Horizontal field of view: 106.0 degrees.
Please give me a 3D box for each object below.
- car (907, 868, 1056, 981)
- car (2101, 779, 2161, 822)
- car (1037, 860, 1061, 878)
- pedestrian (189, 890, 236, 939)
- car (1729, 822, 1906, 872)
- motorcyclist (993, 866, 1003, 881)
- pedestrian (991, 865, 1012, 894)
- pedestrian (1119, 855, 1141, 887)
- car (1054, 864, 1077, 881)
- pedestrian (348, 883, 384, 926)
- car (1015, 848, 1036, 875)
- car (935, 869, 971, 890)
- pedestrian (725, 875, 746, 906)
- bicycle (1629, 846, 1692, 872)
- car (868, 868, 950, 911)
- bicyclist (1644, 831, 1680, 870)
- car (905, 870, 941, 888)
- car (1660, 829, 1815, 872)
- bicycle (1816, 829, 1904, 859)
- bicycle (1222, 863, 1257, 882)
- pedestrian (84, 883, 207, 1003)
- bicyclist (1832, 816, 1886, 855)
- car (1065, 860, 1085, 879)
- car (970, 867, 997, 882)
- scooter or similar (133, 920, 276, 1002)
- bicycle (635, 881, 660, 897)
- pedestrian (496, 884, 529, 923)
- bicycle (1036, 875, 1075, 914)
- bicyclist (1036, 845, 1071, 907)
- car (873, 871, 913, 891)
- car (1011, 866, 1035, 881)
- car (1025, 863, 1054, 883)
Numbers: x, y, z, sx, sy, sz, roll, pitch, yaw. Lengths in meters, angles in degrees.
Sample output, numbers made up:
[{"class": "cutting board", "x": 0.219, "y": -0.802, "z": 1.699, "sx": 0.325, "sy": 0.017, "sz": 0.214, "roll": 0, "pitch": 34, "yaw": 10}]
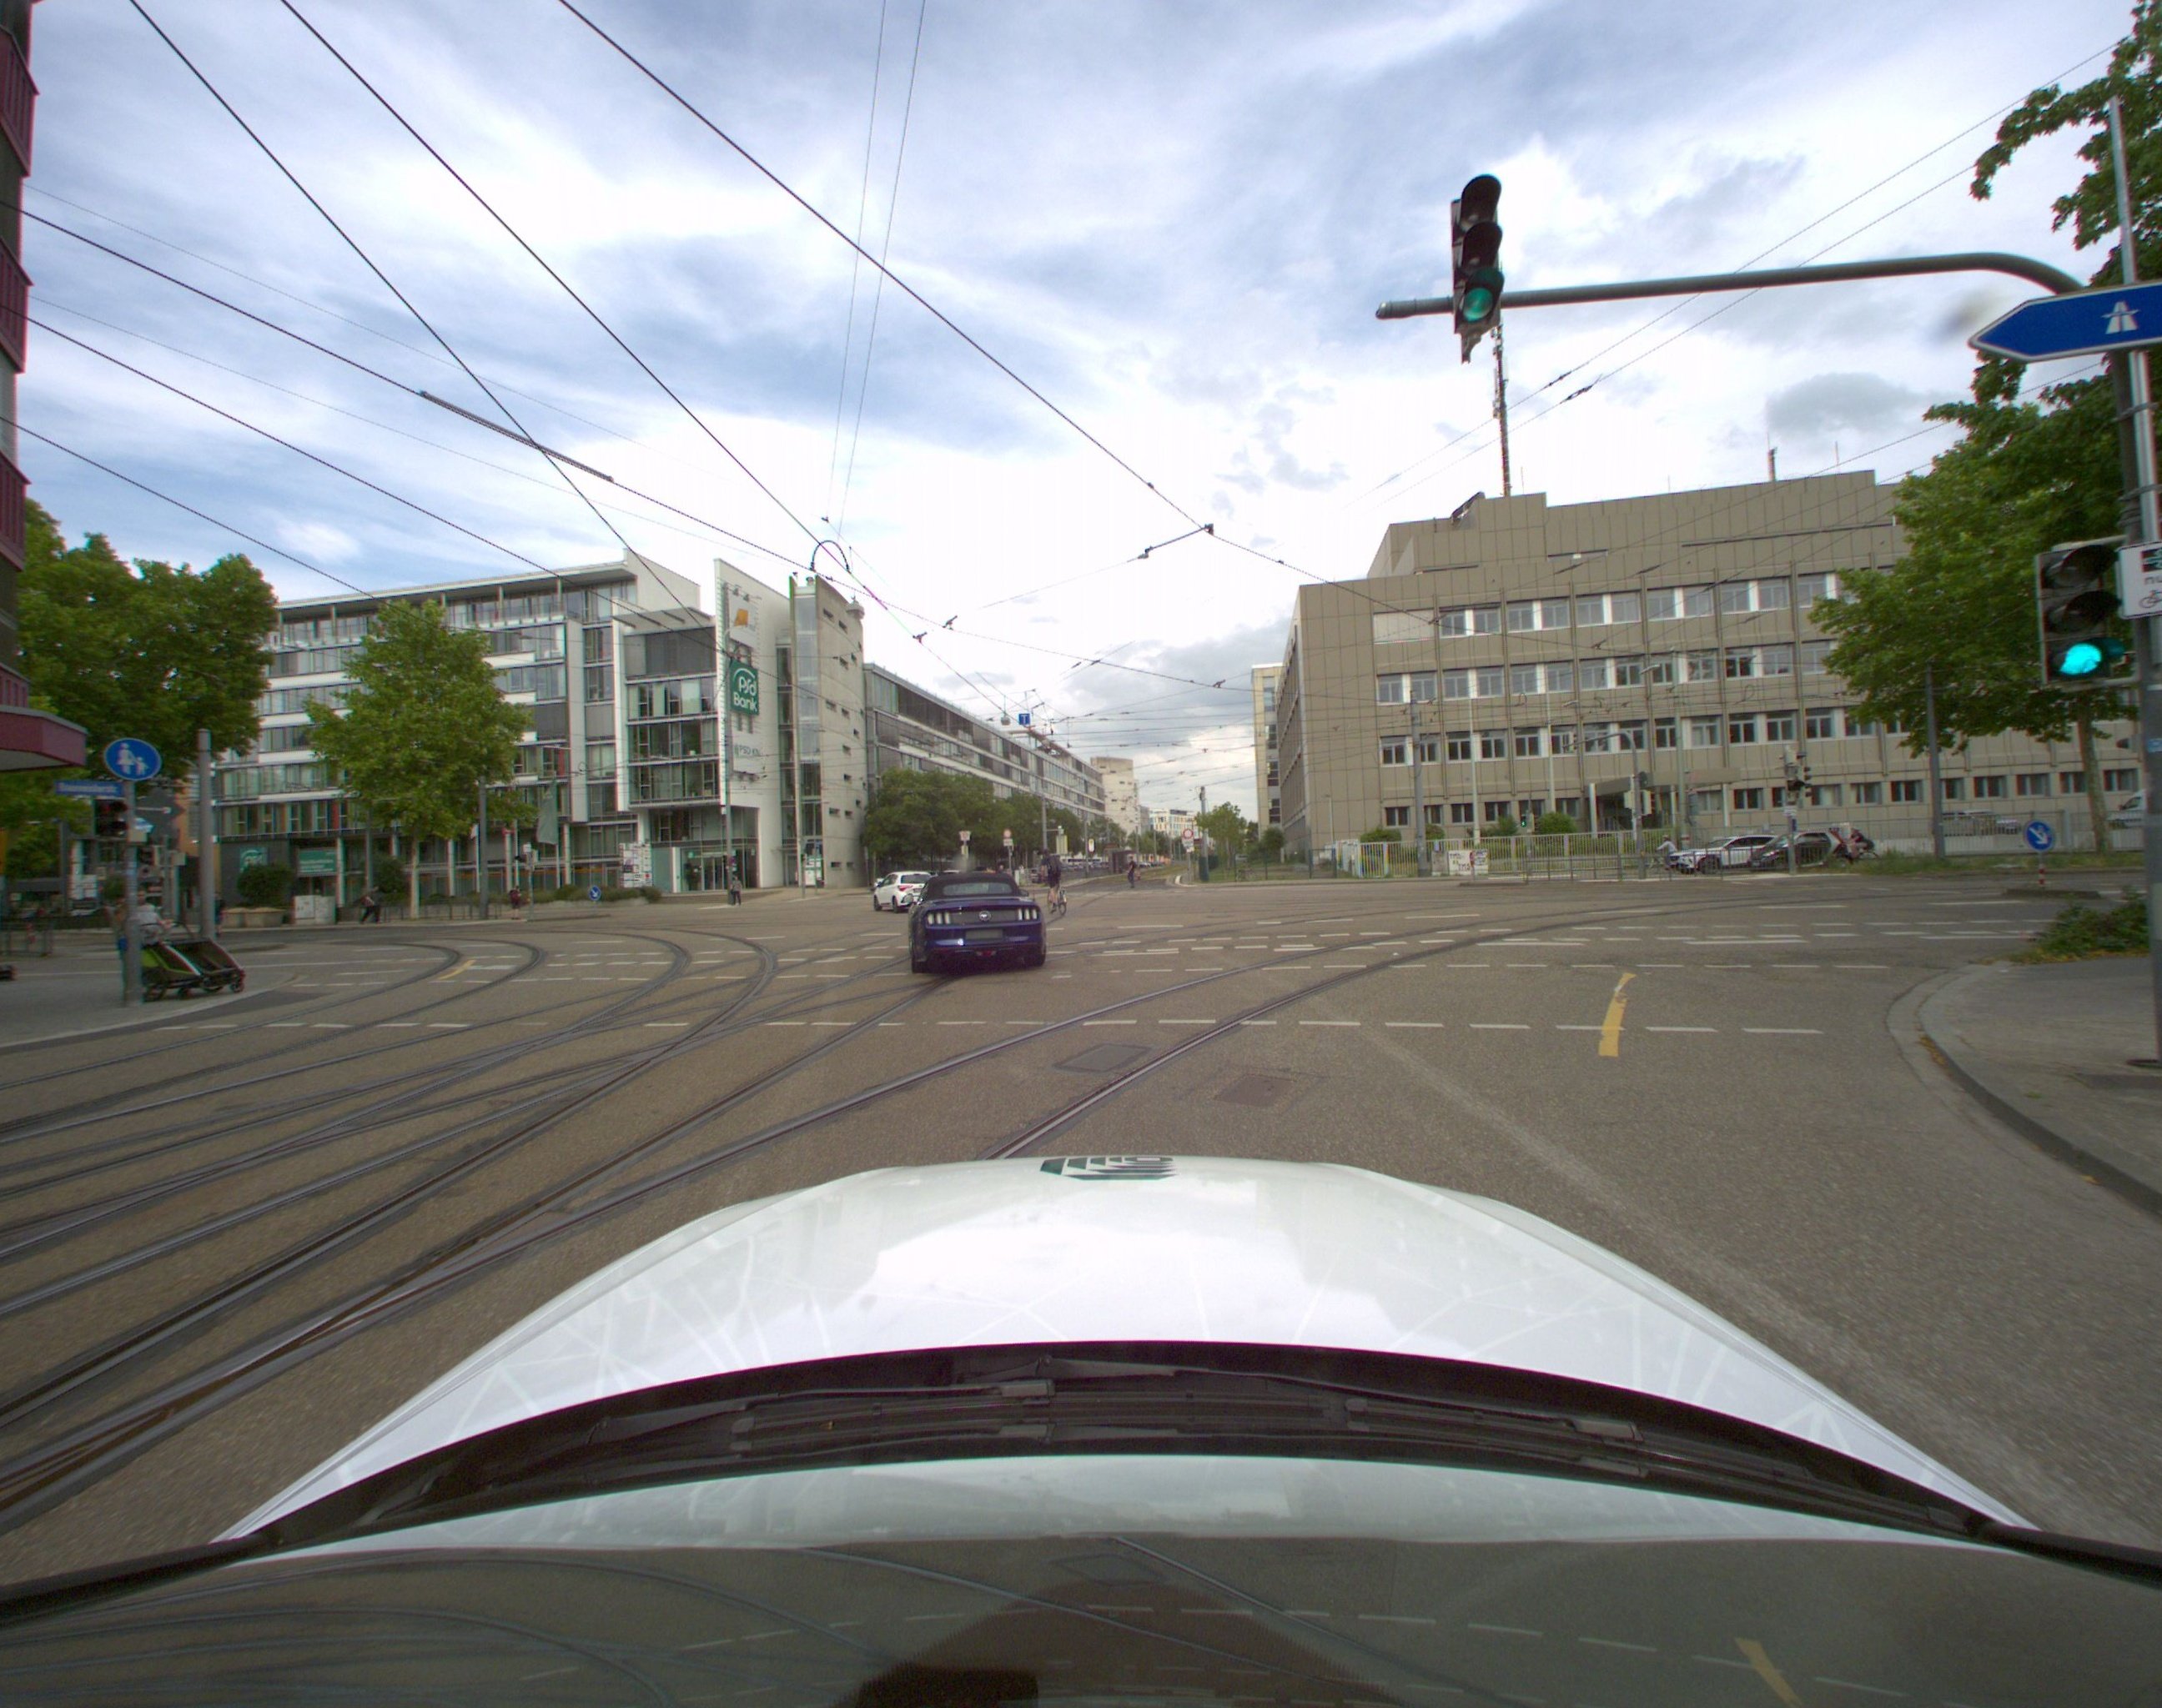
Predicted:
[{"class": "car", "x": -1.727, "y": 0.940, "z": 12.738, "sx": 1.878, "sy": 1.404, "sz": 4.263, "roll": -1, "pitch": -1, "yaw": -13}, {"class": "car", "x": 65.414, "y": -3.267, "z": 48.430, "sx": 2.546, "sy": 2.399, "sz": 5.913, "roll": -2, "pitch": -1, "yaw": 8}, {"class": "car", "x": -3.119, "y": 1.433, "z": 79.863, "sx": 1.696, "sy": 1.606, "sz": 4.086, "roll": -3, "pitch": -1, "yaw": 6}, {"class": "pedestrian", "x": -35.370, "y": 2.450, "z": 33.179, "sx": 0.797, "sy": 1.899, "sz": 1.007, "roll": -3, "pitch": -1, "yaw": 13}, {"class": "car", "x": 26.657, "y": -0.216, "z": 29.635, "sx": 4.374, "sy": 1.566, "sz": 1.844, "roll": -3, "pitch": -1, "yaw": 14}, {"class": "motorcyclist", "x": -9.270, "y": 2.182, "z": 90.659, "sx": 0.814, "sy": 1.617, "sz": 0.885, "roll": -2, "pitch": -1, "yaw": 10}, {"class": "pedestrian", "x": -5.235, "y": 1.680, "z": 53.801, "sx": 0.981, "sy": 1.855, "sz": 0.906, "roll": -3, "pitch": -1, "yaw": 18}, {"class": "pedestrian", "x": 3.012, "y": 1.016, "z": 49.661, "sx": 1.078, "sy": 1.898, "sz": 0.905, "roll": -3, "pitch": -1, "yaw": 15}, {"class": "car", "x": -1.679, "y": 1.973, "z": 87.500, "sx": 1.858, "sy": 1.606, "sz": 4.220, "roll": -3, "pitch": -1, "yaw": 6}, {"class": "pedestrian", "x": -32.590, "y": 2.302, "z": 37.132, "sx": 0.838, "sy": 1.855, "sz": 0.841, "roll": -3, "pitch": -1, "yaw": 4}, {"class": "car", "x": -7.679, "y": 1.038, "z": 112.885, "sx": 1.975, "sy": 3.637, "sz": 4.522, "roll": -1, "pitch": -1, "yaw": 8}, {"class": "car", "x": -10.700, "y": 2.117, "z": 68.246, "sx": 1.704, "sy": 1.660, "sz": 4.144, "roll": -1, "pitch": 0, "yaw": 10}, {"class": "pedestrian", "x": -21.466, "y": 2.235, "z": 50.564, "sx": 0.827, "sy": 1.865, "sz": 0.769, "roll": -3, "pitch": -1, "yaw": 18}, {"class": "bicycle", "x": 25.908, "y": 0.229, "z": 36.436, "sx": 2.157, "sy": 1.086, "sz": 0.808, "roll": -2, "pitch": -1, "yaw": 44}, {"class": "car", "x": -6.634, "y": 1.342, "z": 31.058, "sx": 1.846, "sy": 1.439, "sz": 4.147, "roll": -2, "pitch": -1, "yaw": -29}, {"class": "bicyclist", "x": 25.949, "y": -0.167, "z": 36.369, "sx": 1.167, "sy": 1.701, "sz": 0.808, "roll": -2, "pitch": -1, "yaw": 44}, {"class": "car", "x": -14.737, "y": 2.300, "z": 76.123, "sx": 1.818, "sy": 1.557, "sz": 4.228, "roll": -1, "pitch": 0, "yaw": 10}, {"class": "car", "x": 26.148, "y": -0.120, "z": 32.602, "sx": 4.376, "sy": 1.504, "sz": 2.007, "roll": -3, "pitch": -1, "yaw": 12}, {"class": "bicycle", "x": 32.099, "y": -0.411, "z": 33.603, "sx": 2.535, "sy": 1.086, "sz": 0.806, "roll": -3, "pitch": -1, "yaw": 14}, {"class": "bicycle", "x": 9.333, "y": 1.118, "z": 48.124, "sx": 0.637, "sy": 0.981, "sz": 2.134, "roll": -2, "pitch": -4, "yaw": -35}, {"class": "pedestrian", "x": -14.473, "y": 1.348, "z": 12.622, "sx": 0.943, "sy": 1.743, "sz": 0.813, "roll": -2, "pitch": -1, "yaw": 2}, {"class": "bicyclist", "x": 32.079, "y": -0.750, "z": 33.605, "sx": 1.315, "sy": 1.550, "sz": 0.806, "roll": -3, "pitch": -1, "yaw": 14}, {"class": "car", "x": -0.674, "y": 1.764, "z": 92.399, "sx": 1.776, "sy": 1.987, "sz": 4.128, "roll": -3, "pitch": -1, "yaw": 6}, {"class": "car", "x": -11.202, "y": 2.352, "z": 94.074, "sx": 1.975, "sy": 1.557, "sz": 4.522, "roll": -1, "pitch": 0, "yaw": 8}, {"class": "scooter or similar", "x": -13.520, "y": 1.630, "z": 12.598, "sx": 1.190, "sy": 1.128, "sz": 0.947, "roll": -2, "pitch": -1, "yaw": 3}, {"class": "bicycle", "x": -33.686, "y": 2.705, "z": 63.371, "sx": 0.581, "sy": 1.177, "sz": 2.119, "roll": -1, "pitch": -1, "yaw": 8}, {"class": "pedestrian", "x": -25.826, "y": 2.250, "z": 37.019, "sx": 0.927, "sy": 1.671, "sz": 0.769, "roll": -3, "pitch": -1, "yaw": 18}, {"class": "bicycle", "x": -0.792, "y": 1.178, "z": 24.343, "sx": 0.801, "sy": 1.086, "sz": 2.123, "roll": -2, "pitch": -1, "yaw": -11}, {"class": "bicyclist", "x": -0.840, "y": 0.664, "z": 24.447, "sx": 0.797, "sy": 1.785, "sz": 1.228, "roll": -2, "pitch": -1, "yaw": -12}, {"class": "car", "x": -15.850, "y": 2.280, "z": 68.853, "sx": 1.818, "sy": 1.557, "sz": 4.228, "roll": -1, "pitch": 0, "yaw": 10}, {"class": "car", "x": -6.490, "y": 2.202, "z": 91.947, "sx": 1.704, "sy": 1.660, "sz": 4.144, "roll": -1, "pitch": 0, "yaw": 10}, {"class": "car", "x": -3.729, "y": 1.702, "z": 74.024, "sx": 1.870, "sy": 1.628, "sz": 4.094, "roll": -3, "pitch": -1, "yaw": 6}]
